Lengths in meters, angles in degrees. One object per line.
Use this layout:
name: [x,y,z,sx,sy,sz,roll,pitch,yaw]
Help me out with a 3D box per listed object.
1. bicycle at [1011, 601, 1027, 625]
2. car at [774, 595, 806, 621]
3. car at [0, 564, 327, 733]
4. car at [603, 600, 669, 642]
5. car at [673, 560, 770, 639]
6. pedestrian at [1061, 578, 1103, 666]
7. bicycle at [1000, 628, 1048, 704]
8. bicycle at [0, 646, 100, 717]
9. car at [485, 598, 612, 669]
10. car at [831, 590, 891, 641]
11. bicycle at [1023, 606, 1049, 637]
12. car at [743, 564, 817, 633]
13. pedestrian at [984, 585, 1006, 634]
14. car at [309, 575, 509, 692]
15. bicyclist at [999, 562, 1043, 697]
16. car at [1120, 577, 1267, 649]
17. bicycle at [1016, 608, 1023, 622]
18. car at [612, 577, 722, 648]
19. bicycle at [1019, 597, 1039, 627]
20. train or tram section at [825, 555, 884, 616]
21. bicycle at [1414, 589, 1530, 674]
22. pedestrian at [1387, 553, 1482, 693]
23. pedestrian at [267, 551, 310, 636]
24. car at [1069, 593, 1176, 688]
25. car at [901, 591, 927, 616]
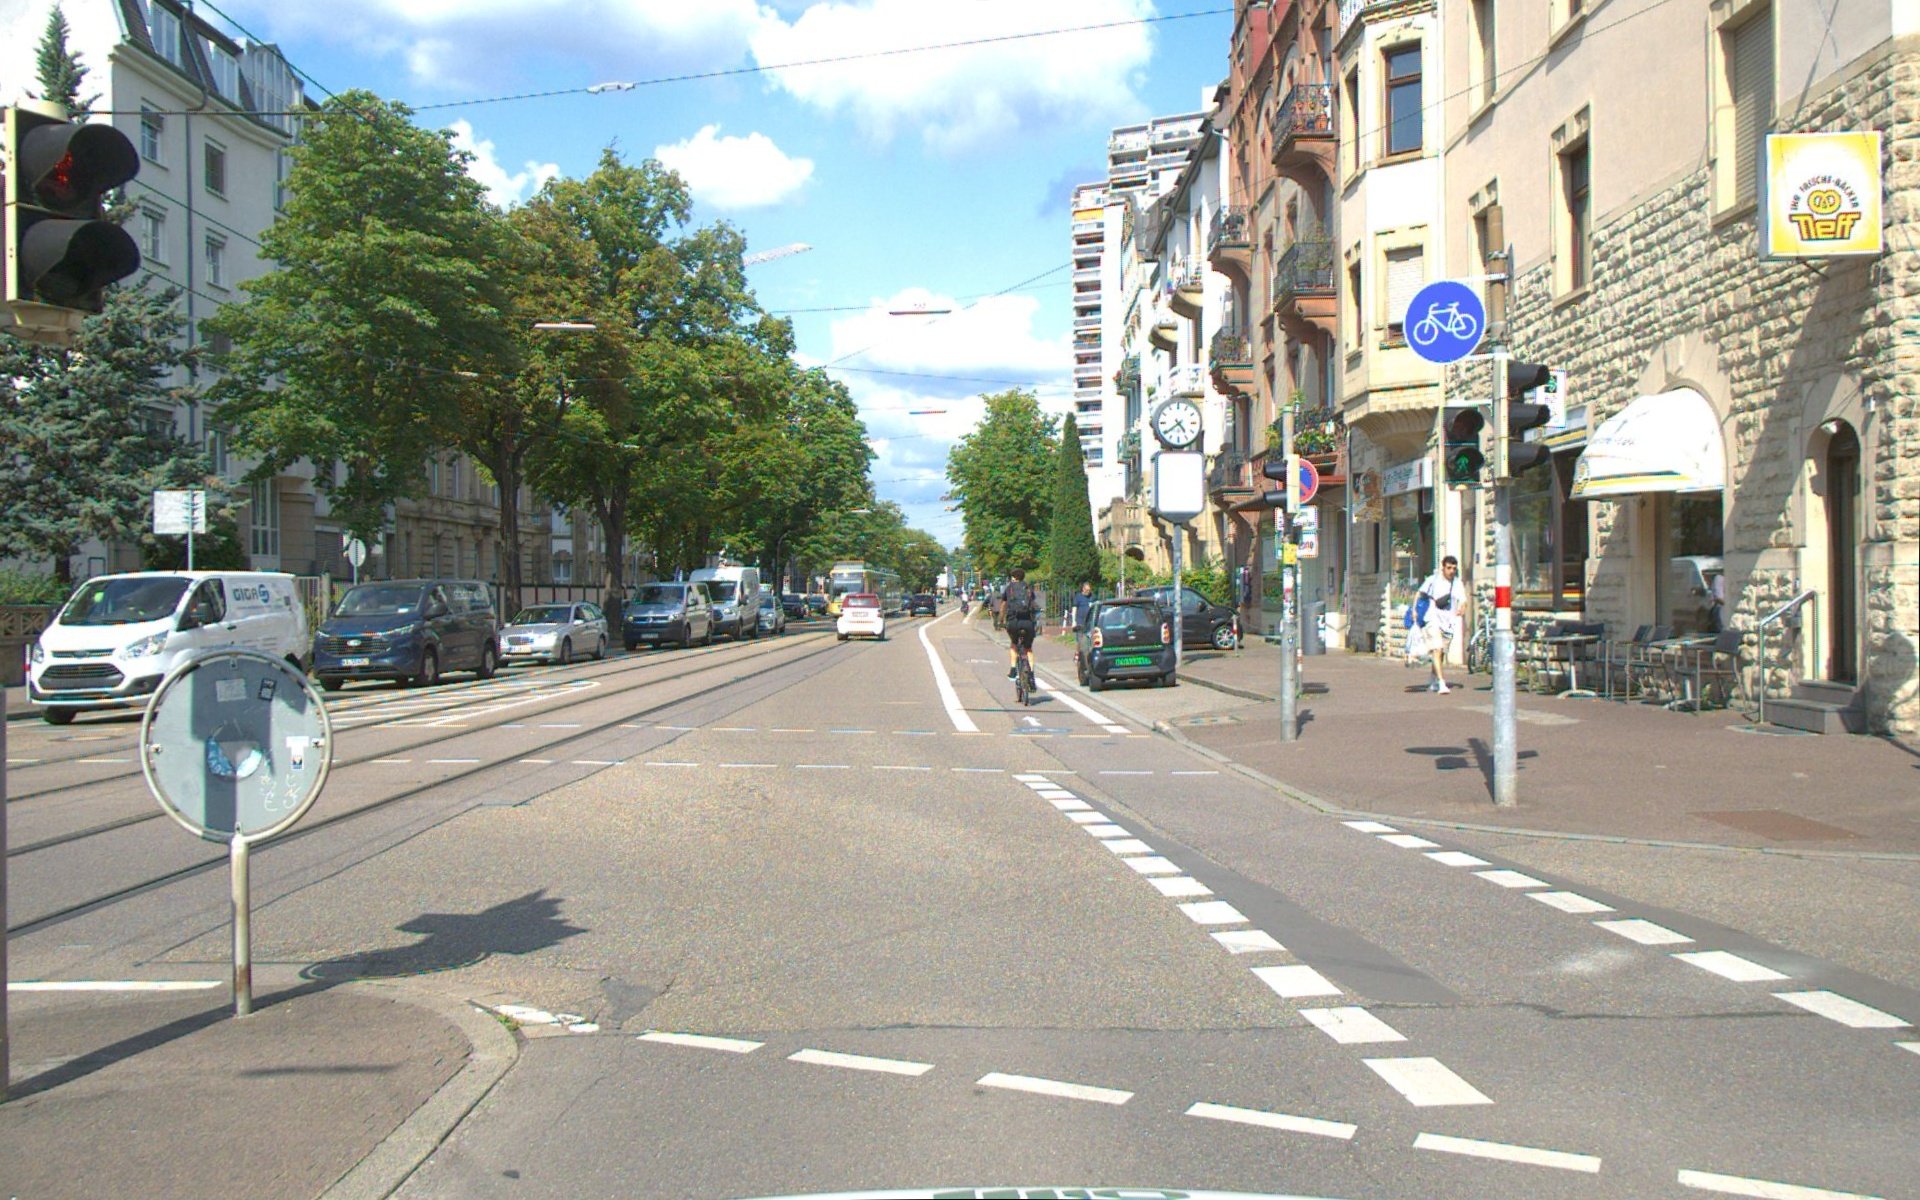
bicycle: [2.626,0.589,73.724,0.598,1.013,2.362,-3,0,0]
car: [-11.795,0.573,115.214,1.714,1.694,4.720,1,0,0]
car: [-10.938,0.597,23.208,1.952,2.029,5.090,-2,0,1]
car: [-12.595,0.779,64.470,1.593,1.498,4.206,1,1,2]
car: [-8.198,-0.061,57.412,2.268,2.551,6.365,-1,1,1]
pedestrian: [2.695,0.483,36.593,0.646,1.873,0.872,-5,0,-7]
bicycle: [0.952,0.994,24.912,0.603,1.063,1.836,-4,-2,0]
bicycle: [-14.690,1.278,26.330,0.978,0.949,1.860,3,1,-1]
car: [-9.749,0.750,39.516,1.657,1.506,4.484,-2,1,3]
car: [-3.306,0.521,55.918,1.631,1.653,3.621,1,0,2]
bicycle: [2.637,0.737,57.535,0.587,0.977,3.065,-4,0,-2]
car: [-7.049,-0.059,65.359,2.268,2.551,6.362,-1,0,-1]
pedestrian: [1.357,0.354,63.985,0.772,1.894,0.579,0,-1,-6]
car: [-10.225,0.601,31.154,1.887,1.950,5.124,-2,0,1]
bicyclist: [0.918,0.434,24.951,0.594,1.982,1.130,1,-1,0]
car: [5.645,0.316,40.274,3.330,1.550,1.972,-3,0,3]
bicycle: [2.976,0.750,83.036,0.273,0.689,1.559,-4,-1,1]
car: [-8.732,0.411,49.784,1.944,1.997,5.182,-1,-1,5]
bicycle: [2.915,0.509,70.252,0.725,1.252,2.516,-1,0,0]
train or tram section: [-6.526,-0.820,103.874,2.598,3.496,12.316,-2,0,1]
bicycle: [7.668,0.455,24.922,0.788,1.198,2.751,1,0,-2]
pedestrian: [6.347,0.301,22.167,0.990,1.799,0.850,-2,1,1]
pedestrian: [-16.202,-0.153,39.918,0.475,2.049,0.803,1,-1,33]
car: [2.838,0.674,29.354,1.483,1.525,2.793,-3,0,-2]
car: [-3.188,0.231,115.273,1.631,1.653,3.621,-1,0,1]
